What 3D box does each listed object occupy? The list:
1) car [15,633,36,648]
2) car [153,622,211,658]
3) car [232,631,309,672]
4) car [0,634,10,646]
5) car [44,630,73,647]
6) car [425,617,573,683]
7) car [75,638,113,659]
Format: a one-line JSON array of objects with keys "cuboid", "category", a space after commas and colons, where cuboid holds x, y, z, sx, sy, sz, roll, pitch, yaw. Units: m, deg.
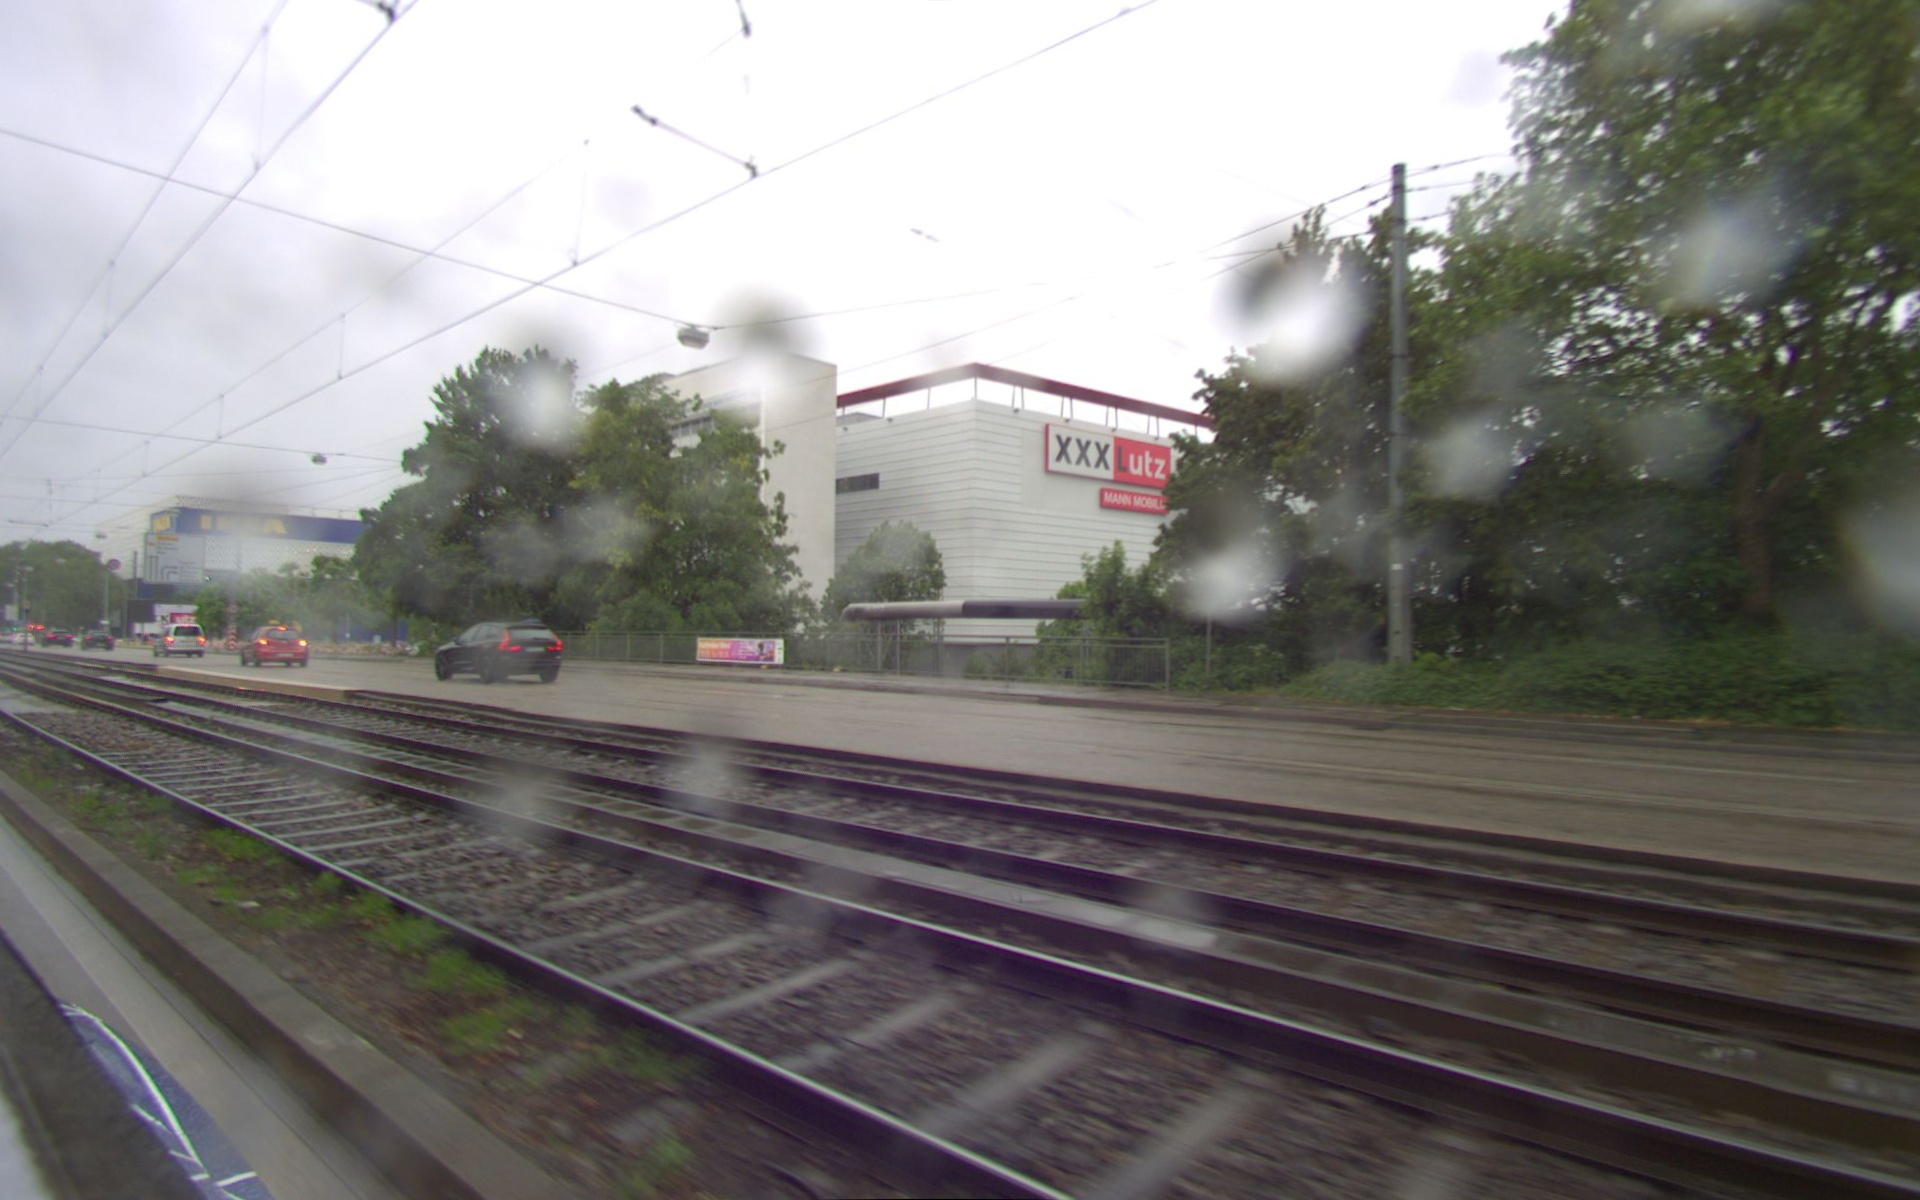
[{"cuboid": [-105.071, 4.549, 113.749, 4.001, 1.557, 1.548, -3, -2, 44], "category": "car"}, {"cuboid": [-43.566, 2.264, 56.665, 3.998, 1.924, 1.821, -2, -4, 42], "category": "car"}, {"cuboid": [-26.322, 1.953, 38.587, 4.002, 1.465, 1.684, -3, -4, 45], "category": "car"}, {"cuboid": [-123.240, 5.186, 129.981, 4.001, 1.546, 1.548, -3, -4, 45], "category": "car"}, {"cuboid": [-82.215, 3.525, 92.273, 4.001, 1.557, 1.626, -3, -4, 44], "category": "car"}, {"cuboid": [-12.782, 1.366, 27.936, 4.869, 1.665, 1.917, -2, -3, 42], "category": "car"}, {"cuboid": [-66.942, 3.738, 78.207, 3.998, 1.557, 1.686, -2, -4, 42], "category": "car"}]
